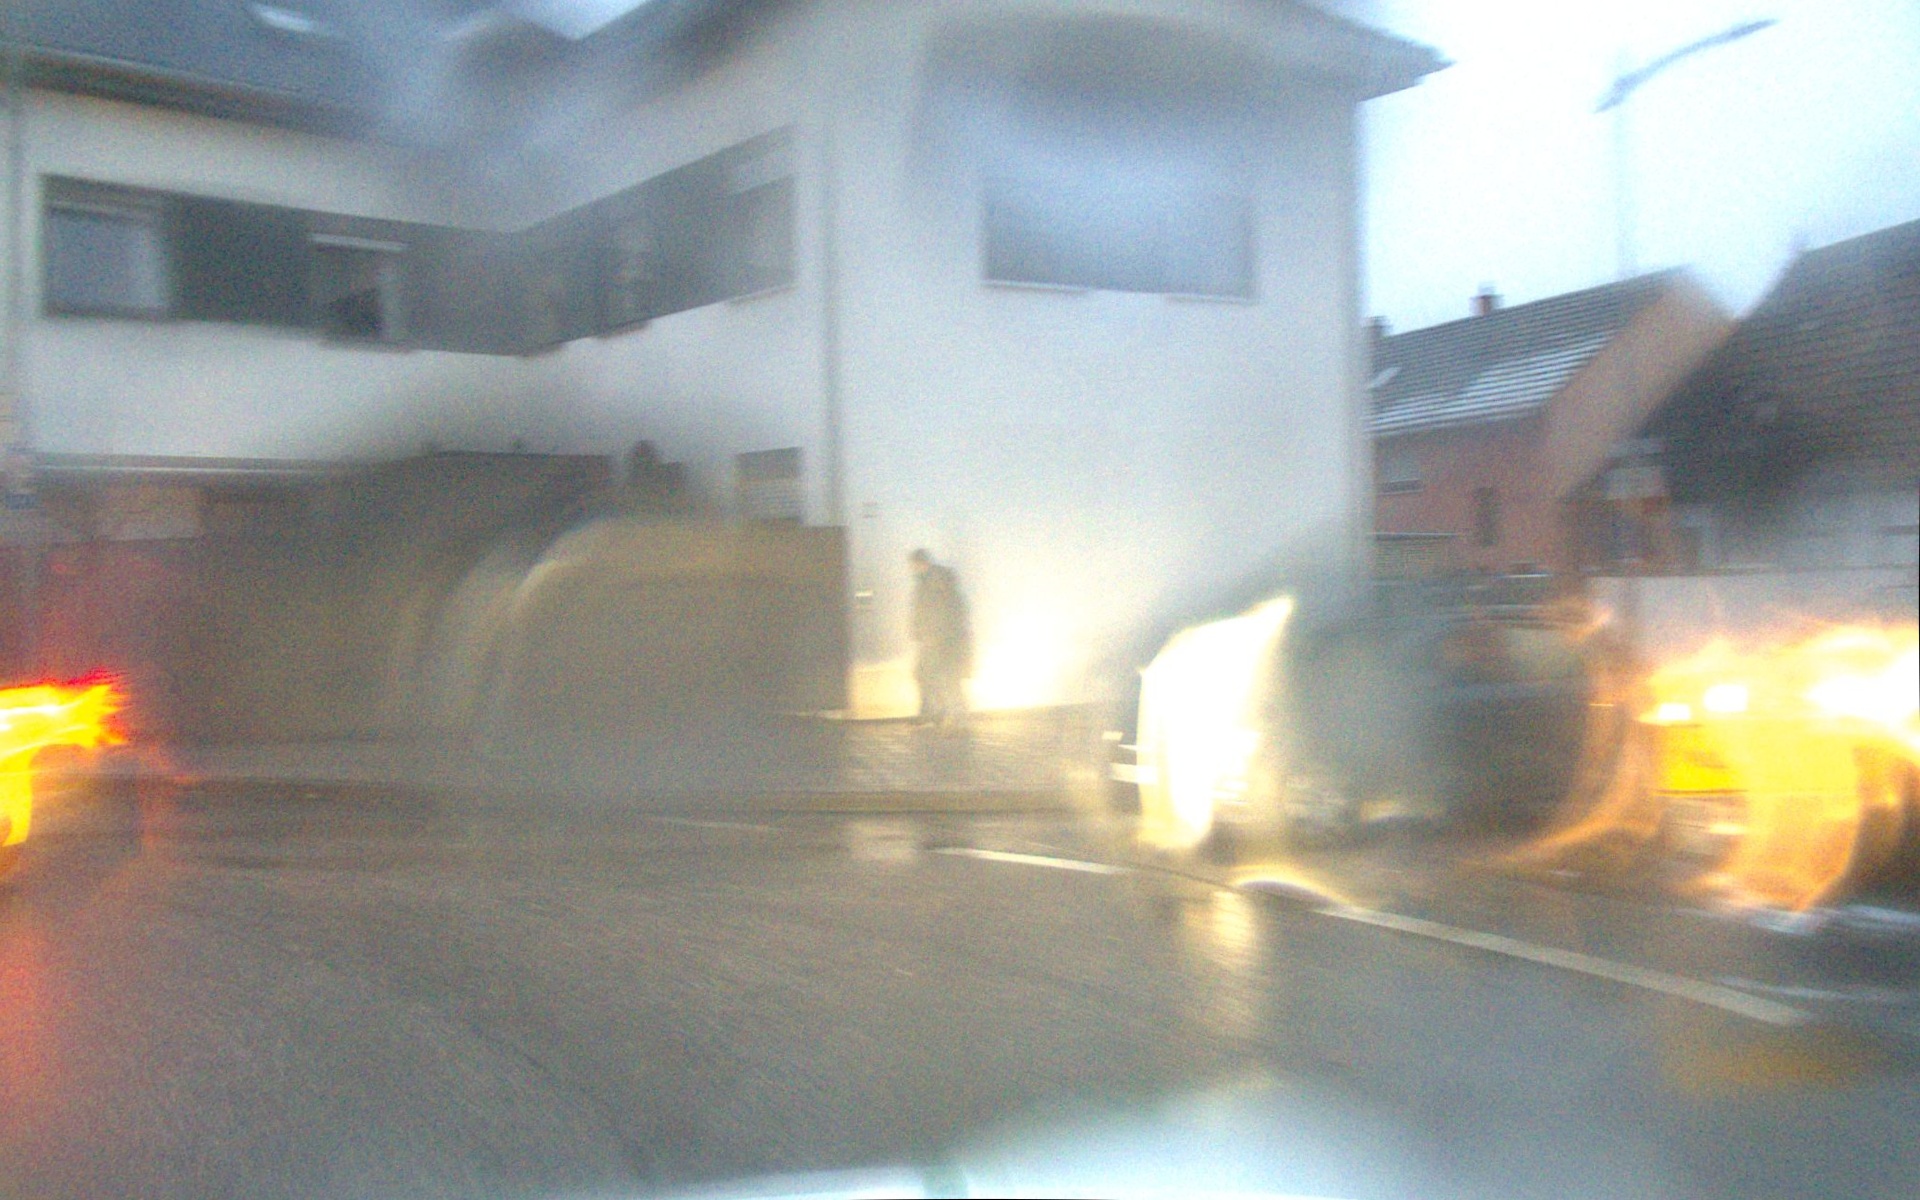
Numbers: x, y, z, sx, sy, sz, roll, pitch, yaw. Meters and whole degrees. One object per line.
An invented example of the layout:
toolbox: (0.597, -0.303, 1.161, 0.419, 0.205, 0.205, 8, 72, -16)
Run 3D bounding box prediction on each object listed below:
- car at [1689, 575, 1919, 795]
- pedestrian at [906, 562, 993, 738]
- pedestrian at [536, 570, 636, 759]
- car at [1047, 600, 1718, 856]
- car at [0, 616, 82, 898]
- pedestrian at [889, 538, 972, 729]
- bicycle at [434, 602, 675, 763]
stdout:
car: (8.043, 0.588, 13.584, 3.940, 1.579, 1.682, -1, 0, -28)
pedestrian: (-0.104, 0.466, 15.894, 0.703, 1.649, 0.580, -1, 1, -16)
pedestrian: (-3.230, 0.544, 14.326, 0.675, 1.591, 0.610, 0, 2, 4)
car: (2.860, 0.761, 11.184, 4.166, 1.408, 1.836, -1, -2, -25)
car: (-6.849, 0.847, 9.137, 3.924, 1.446, 1.712, -1, 0, 30)
pedestrian: (-0.304, 0.319, 16.597, 0.703, 1.863, 0.635, -1, 2, -16)
bicycle: (-3.451, 0.695, 14.141, 1.895, 1.318, 0.552, 0, 2, 5)
